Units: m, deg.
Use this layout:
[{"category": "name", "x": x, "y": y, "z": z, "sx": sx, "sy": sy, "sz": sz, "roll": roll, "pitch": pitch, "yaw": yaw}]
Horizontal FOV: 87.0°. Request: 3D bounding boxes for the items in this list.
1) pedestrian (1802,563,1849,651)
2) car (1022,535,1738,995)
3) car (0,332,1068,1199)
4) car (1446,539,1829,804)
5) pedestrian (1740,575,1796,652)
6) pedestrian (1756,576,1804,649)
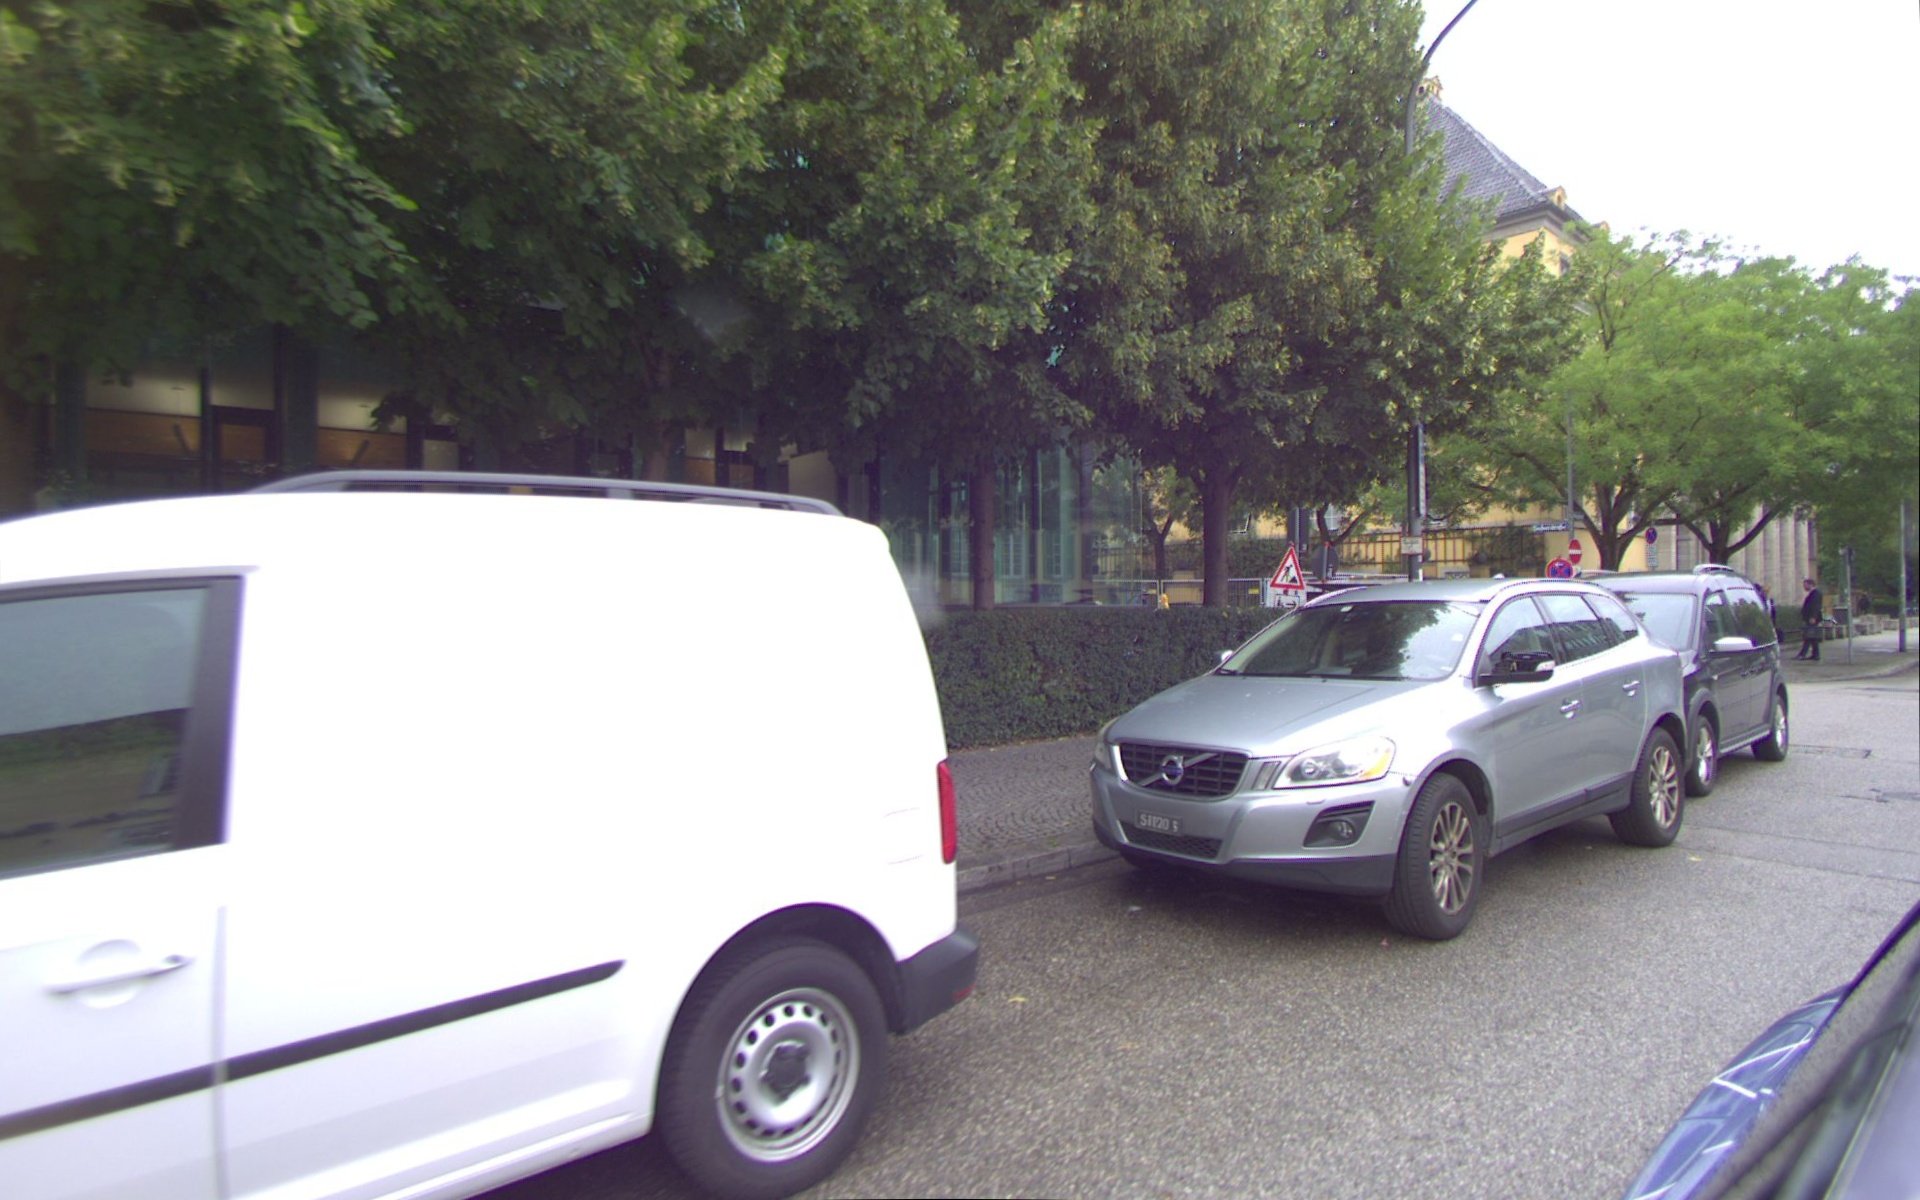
[{"category": "pedestrian", "x": 20.538, "y": 0.176, "z": 24.040, "sx": 0.685, "sy": 2.039, "sz": 0.884, "roll": -2, "pitch": -1, "yaw": 34}, {"category": "car", "x": 2.744, "y": 0.612, "z": 5.996, "sx": 4.698, "sy": 1.713, "sz": 1.871, "roll": -1, "pitch": -1, "yaw": -39}, {"category": "car", "x": -2.004, "y": 0.534, "z": 2.452, "sx": 4.490, "sy": 1.920, "sz": 1.789, "roll": -1, "pitch": -1, "yaw": -37}, {"category": "car", "x": 6.235, "y": 0.497, "z": 9.113, "sx": 4.272, "sy": 1.831, "sz": 1.812, "roll": 0, "pitch": -1, "yaw": -42}, {"category": "pedestrian", "x": 19.471, "y": 0.325, "z": 24.406, "sx": 0.680, "sy": 1.808, "sz": 0.891, "roll": -1, "pitch": -1, "yaw": 15}, {"category": "pedestrian", "x": 20.390, "y": 0.319, "z": 25.185, "sx": 0.691, "sy": 1.781, "sz": 0.681, "roll": -2, "pitch": -1, "yaw": 20}]
